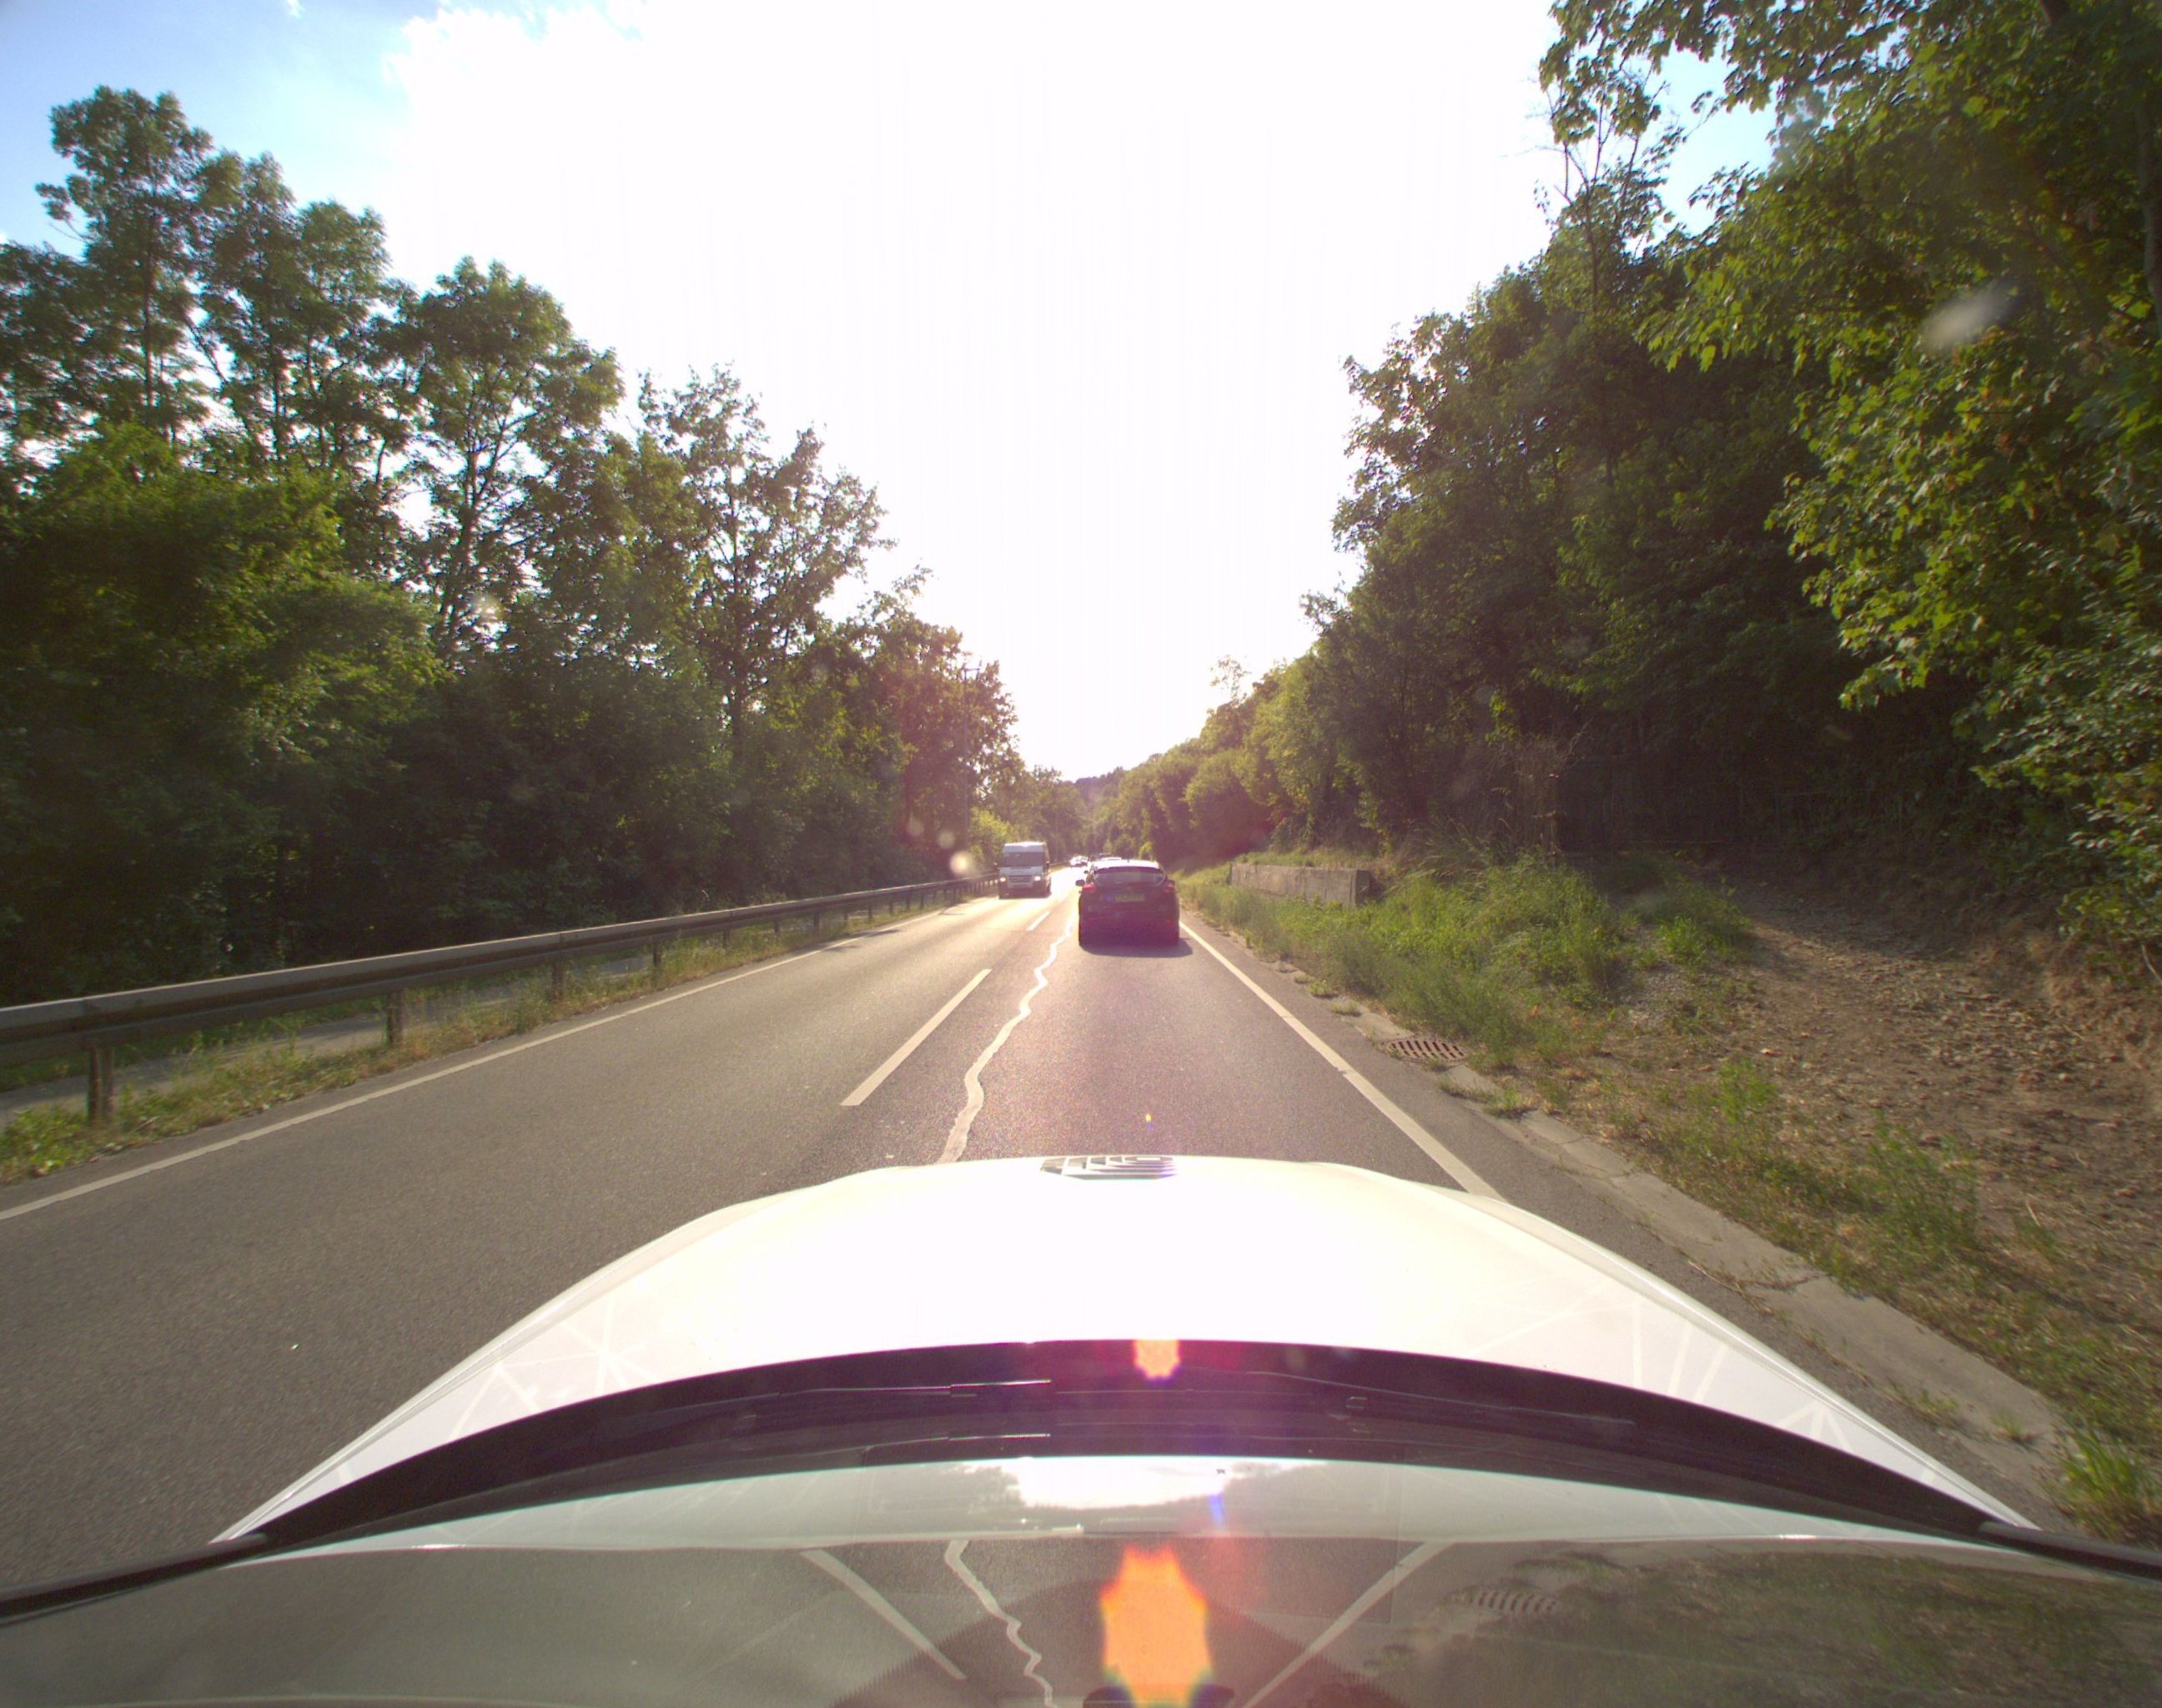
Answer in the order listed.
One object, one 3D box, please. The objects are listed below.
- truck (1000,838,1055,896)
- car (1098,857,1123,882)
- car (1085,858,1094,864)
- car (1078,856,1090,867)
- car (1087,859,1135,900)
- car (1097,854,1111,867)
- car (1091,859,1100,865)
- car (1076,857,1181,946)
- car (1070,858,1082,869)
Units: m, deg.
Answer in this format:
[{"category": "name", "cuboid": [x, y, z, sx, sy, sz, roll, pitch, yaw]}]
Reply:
[{"category": "truck", "cuboid": [-2.356, 0.555, 37.316, 2.051, 2.385, 5.872, -1, 0, 0]}, {"category": "car", "cuboid": [1.975, 1.013, 54.846, 1.625, 1.596, 4.001, -1, 0, 2]}, {"category": "car", "cuboid": [2.507, 2.067, 242.058, 1.991, 1.519, 3.992, -1, 0, -6]}, {"category": "car", "cuboid": [0.504, 1.248, 134.580, 1.741, 1.717, 4.223, -1, 0, 2]}, {"category": "car", "cuboid": [1.171, 0.918, 30.855, 1.654, 1.418, 4.003, -1, 0, 3]}, {"category": "car", "cuboid": [3.304, 0.913, 117.737, 1.855, 1.781, 4.002, -1, 0, 2]}, {"category": "car", "cuboid": [3.709, 2.011, 207.285, 1.991, 1.519, 3.992, -1, 0, -6]}, {"category": "car", "cuboid": [0.848, 0.807, 15.528, 1.733, 1.456, 4.001, -1, -1, 2]}, {"category": "car", "cuboid": [-0.738, 1.374, 119.542, 1.676, 1.442, 4.001, -2, 0, 1]}]
